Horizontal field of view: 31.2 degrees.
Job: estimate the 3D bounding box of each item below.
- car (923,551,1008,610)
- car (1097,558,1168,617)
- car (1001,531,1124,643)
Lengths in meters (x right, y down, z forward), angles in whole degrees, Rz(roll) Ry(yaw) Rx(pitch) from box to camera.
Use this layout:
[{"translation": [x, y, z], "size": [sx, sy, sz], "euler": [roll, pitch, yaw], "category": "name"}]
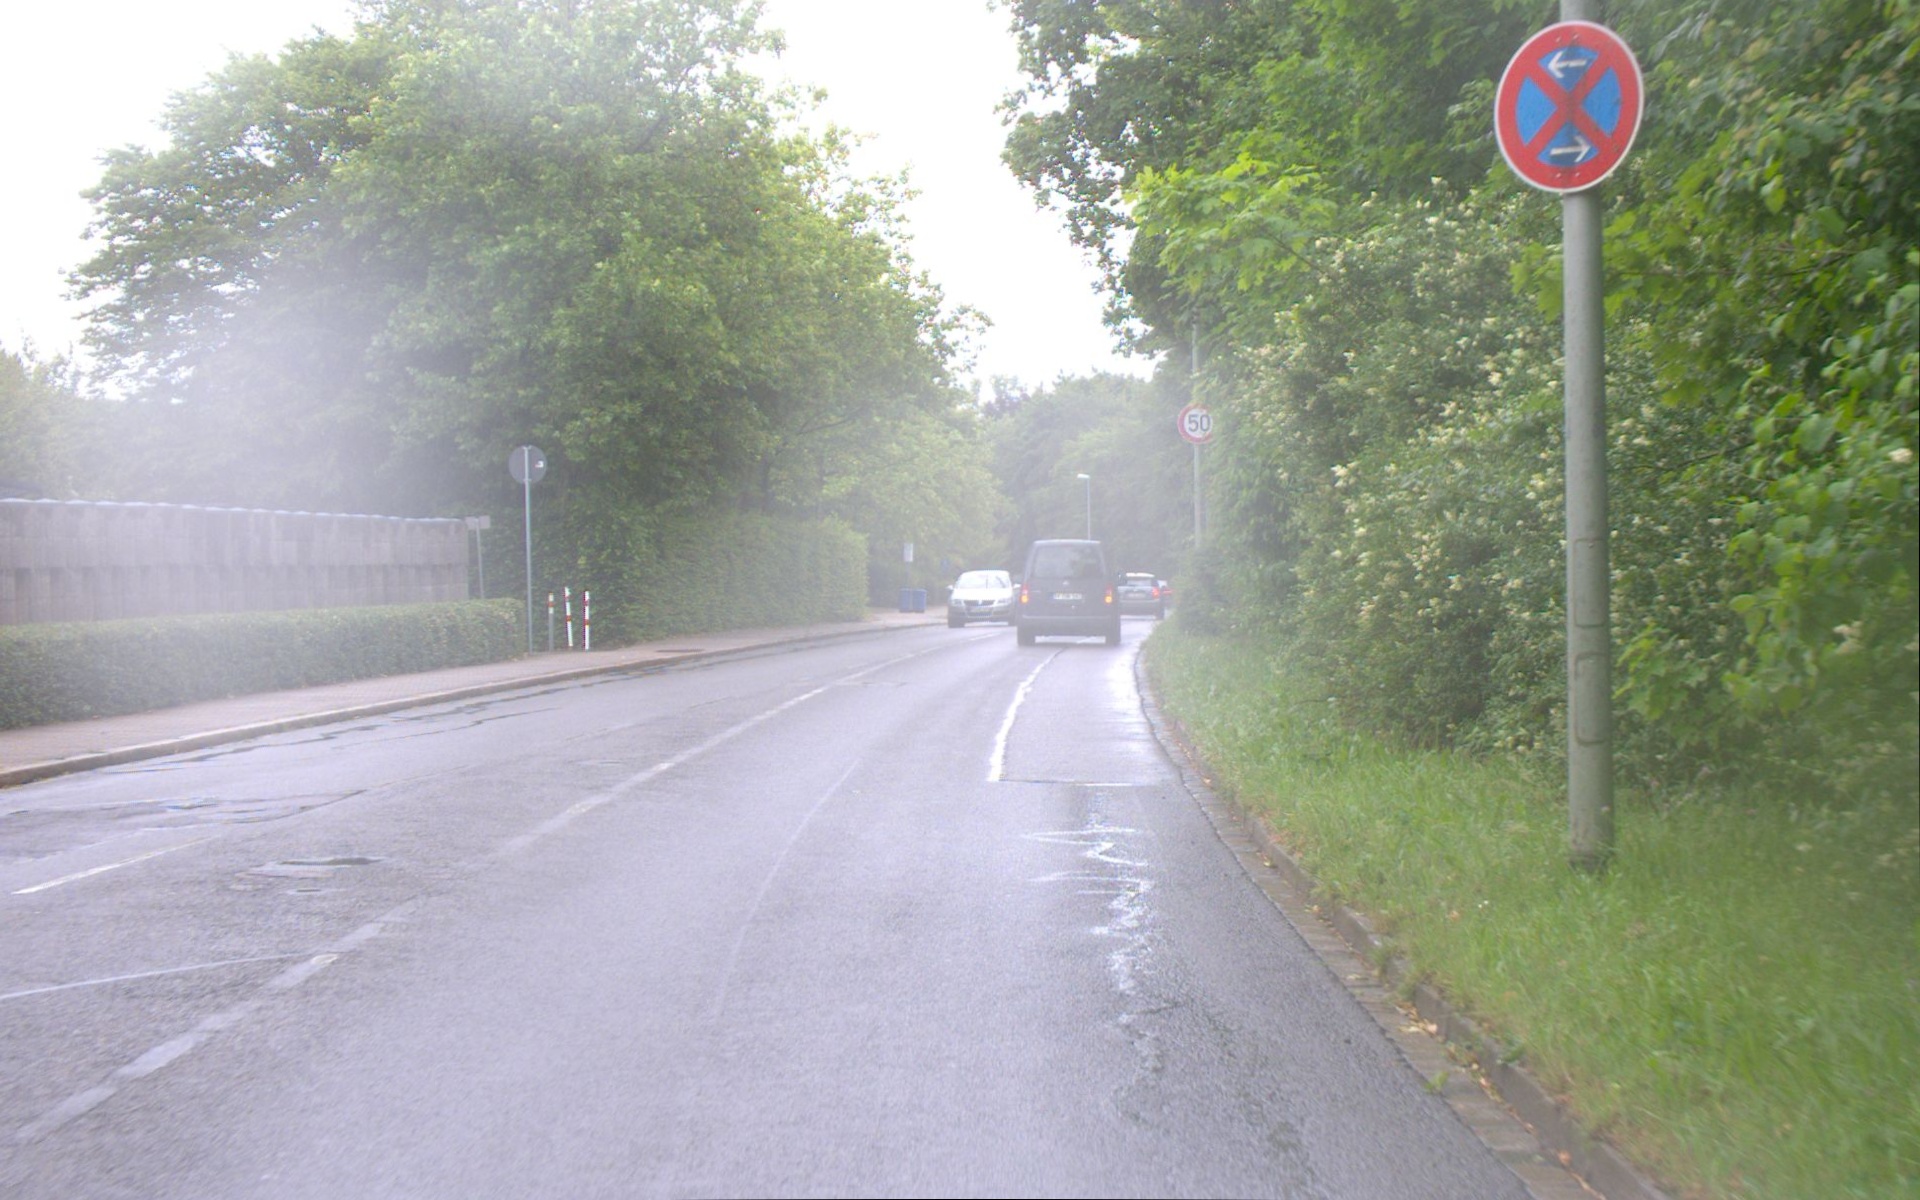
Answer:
[{"translation": [0.170, -0.535, 90.079], "size": [1.994, 1.415, 4.485], "euler": [-2, 1, 2], "category": "car"}, {"translation": [5.463, -0.412, 108.435], "size": [1.950, 1.744, 3.999], "euler": [-1, 2, 7], "category": "car"}, {"translation": [1.842, -0.258, 60.465], "size": [1.994, 1.787, 4.000], "euler": [2, 2, 3], "category": "car"}]
